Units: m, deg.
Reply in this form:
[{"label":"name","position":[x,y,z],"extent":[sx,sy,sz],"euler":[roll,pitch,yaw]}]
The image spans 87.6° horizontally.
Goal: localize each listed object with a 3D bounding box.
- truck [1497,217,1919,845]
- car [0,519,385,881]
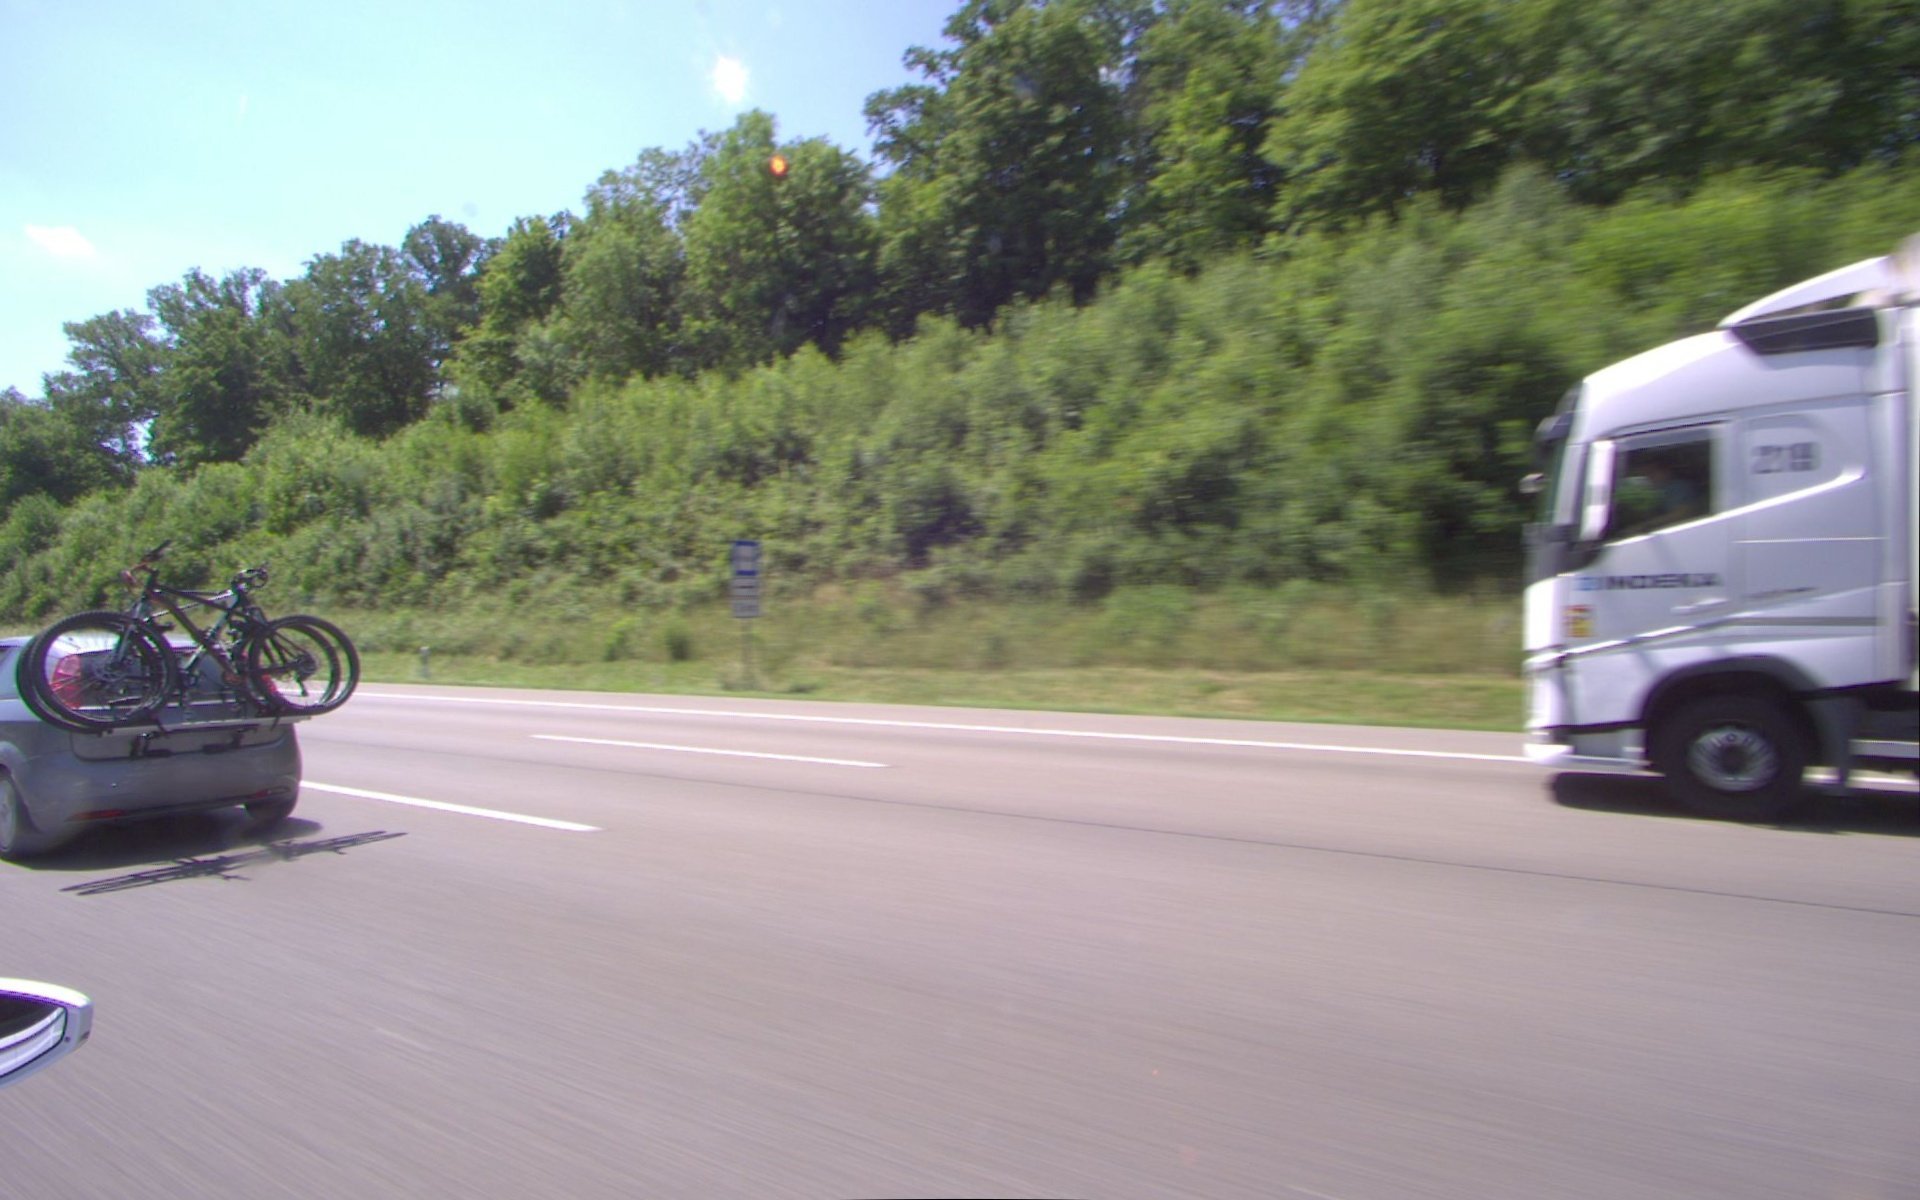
[{"label":"truck","position":[9.609,-0.489,6.288],"extent":[10.814,4.214,2.717],"euler":[-1,-2,33]},{"label":"car","position":[-6.767,0.635,7.862],"extent":[4.716,2.080,1.958],"euler":[-1,-1,33]}]
